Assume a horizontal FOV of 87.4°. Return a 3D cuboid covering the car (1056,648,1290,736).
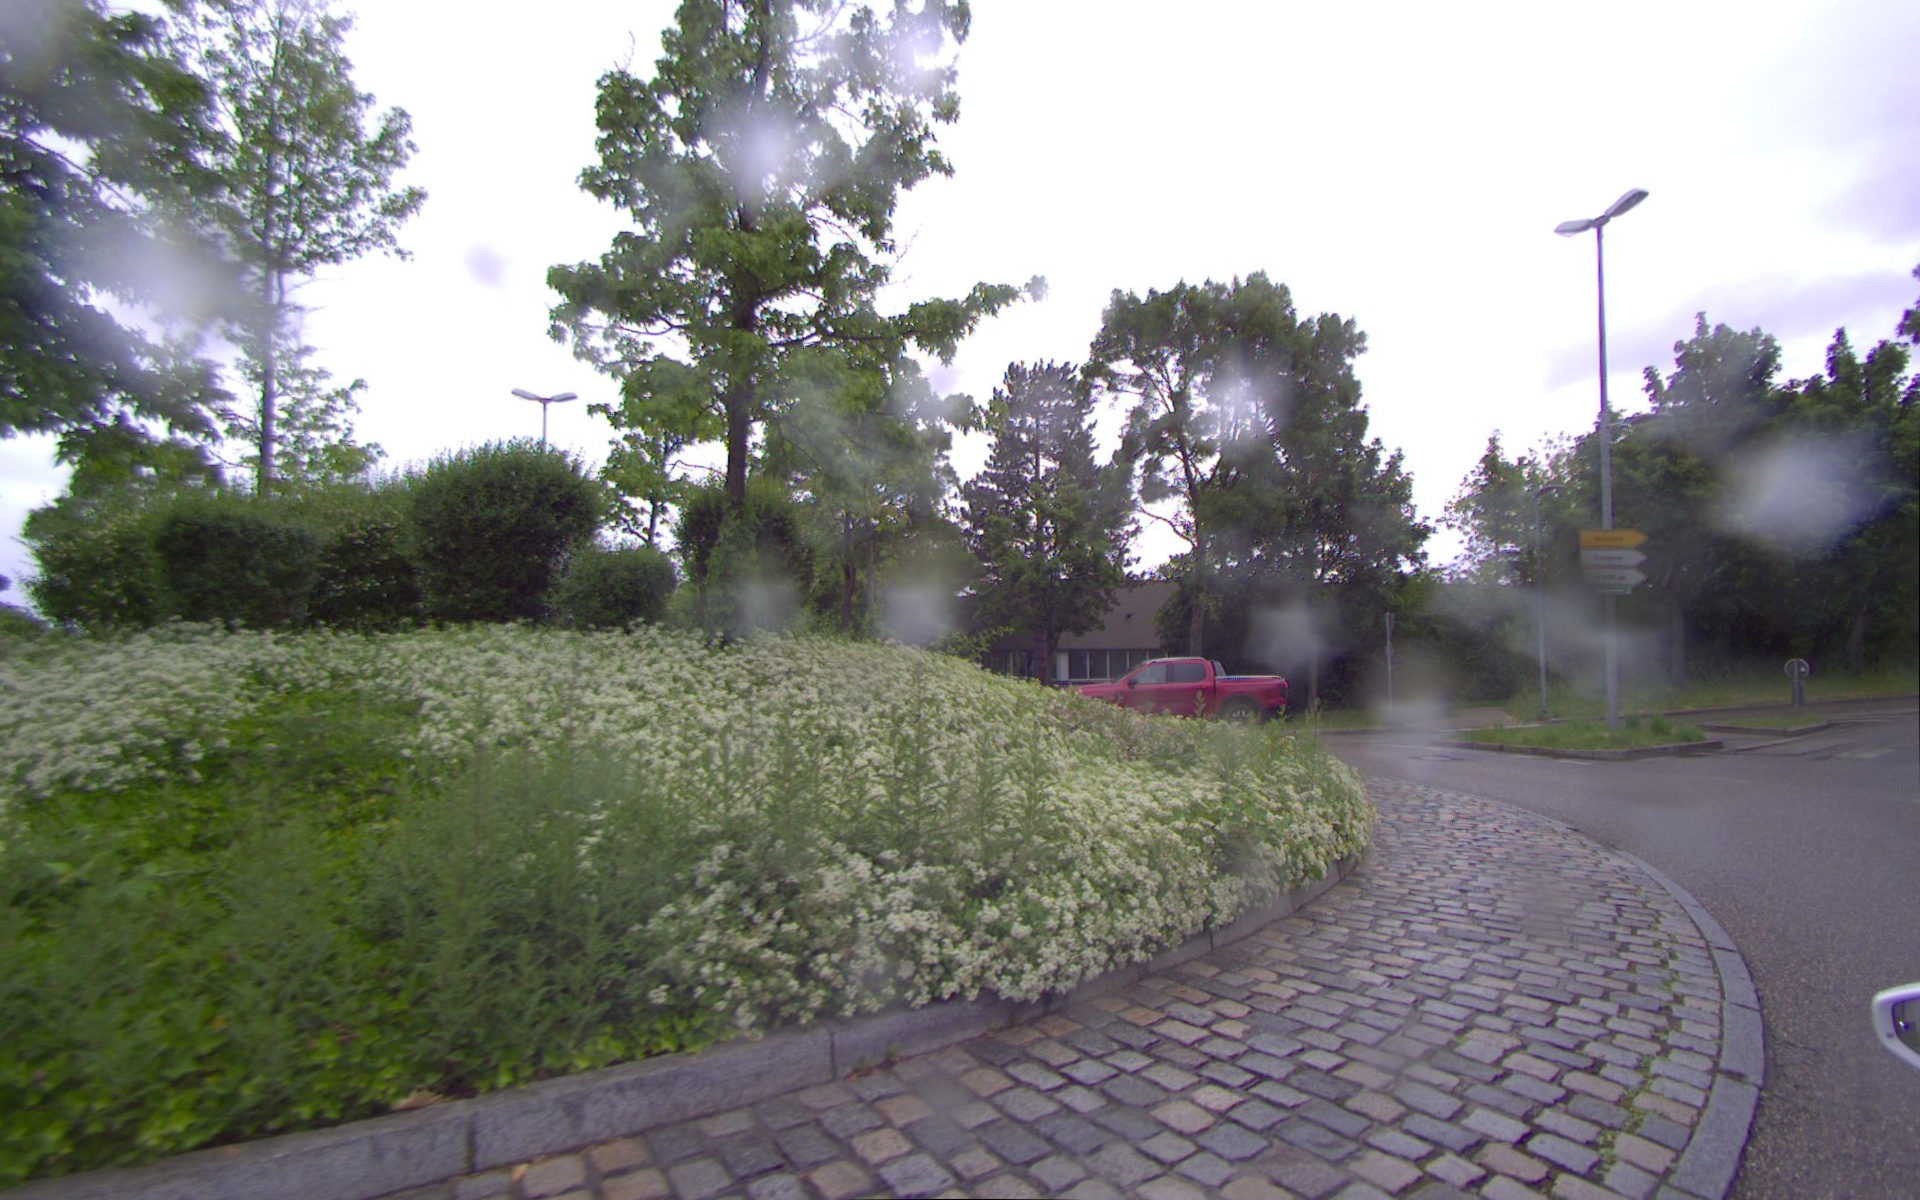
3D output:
[{"bbox_3d":[4.845,2.112,23.415,5.009,1.818,2.001,-2,-3,2],"label":"car"}]
